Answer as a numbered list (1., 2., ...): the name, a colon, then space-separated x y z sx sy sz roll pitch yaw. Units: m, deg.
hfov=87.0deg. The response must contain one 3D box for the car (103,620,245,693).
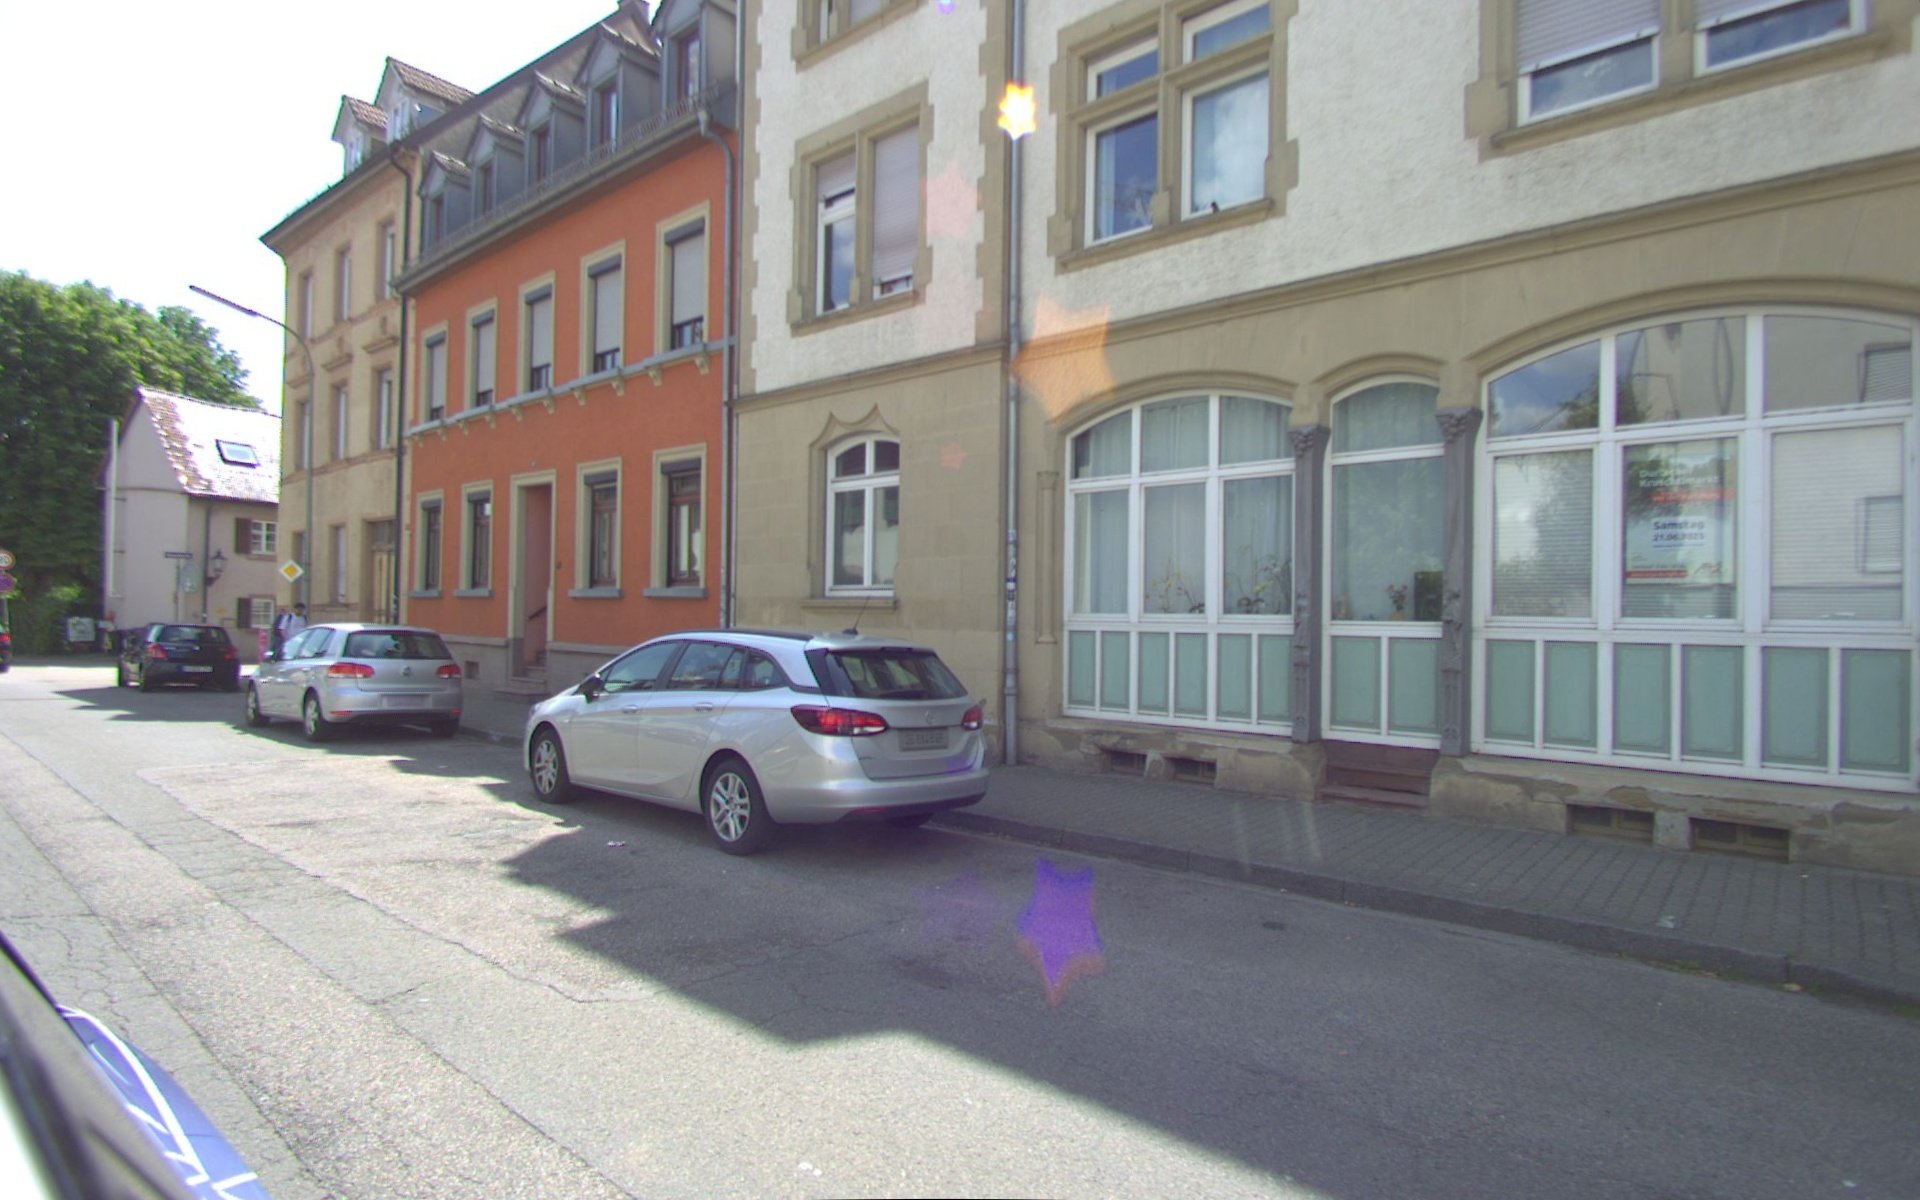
1. car: -17.269 1.187 22.187 3.855 1.453 1.710 -1 -2 41

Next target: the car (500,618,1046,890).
1. car: -1.642 0.915 7.845 4.379 1.522 1.858 -1 -2 42

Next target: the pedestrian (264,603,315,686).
1. pedestrian: -14.893 0.975 22.477 0.763 1.784 0.760 -1 -1 40

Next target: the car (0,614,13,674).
1. car: -26.685 1.138 26.993 4.063 1.537 1.768 -1 -2 43

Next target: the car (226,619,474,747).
1. car: -8.261 1.021 13.592 3.851 1.470 1.692 -1 -4 41
